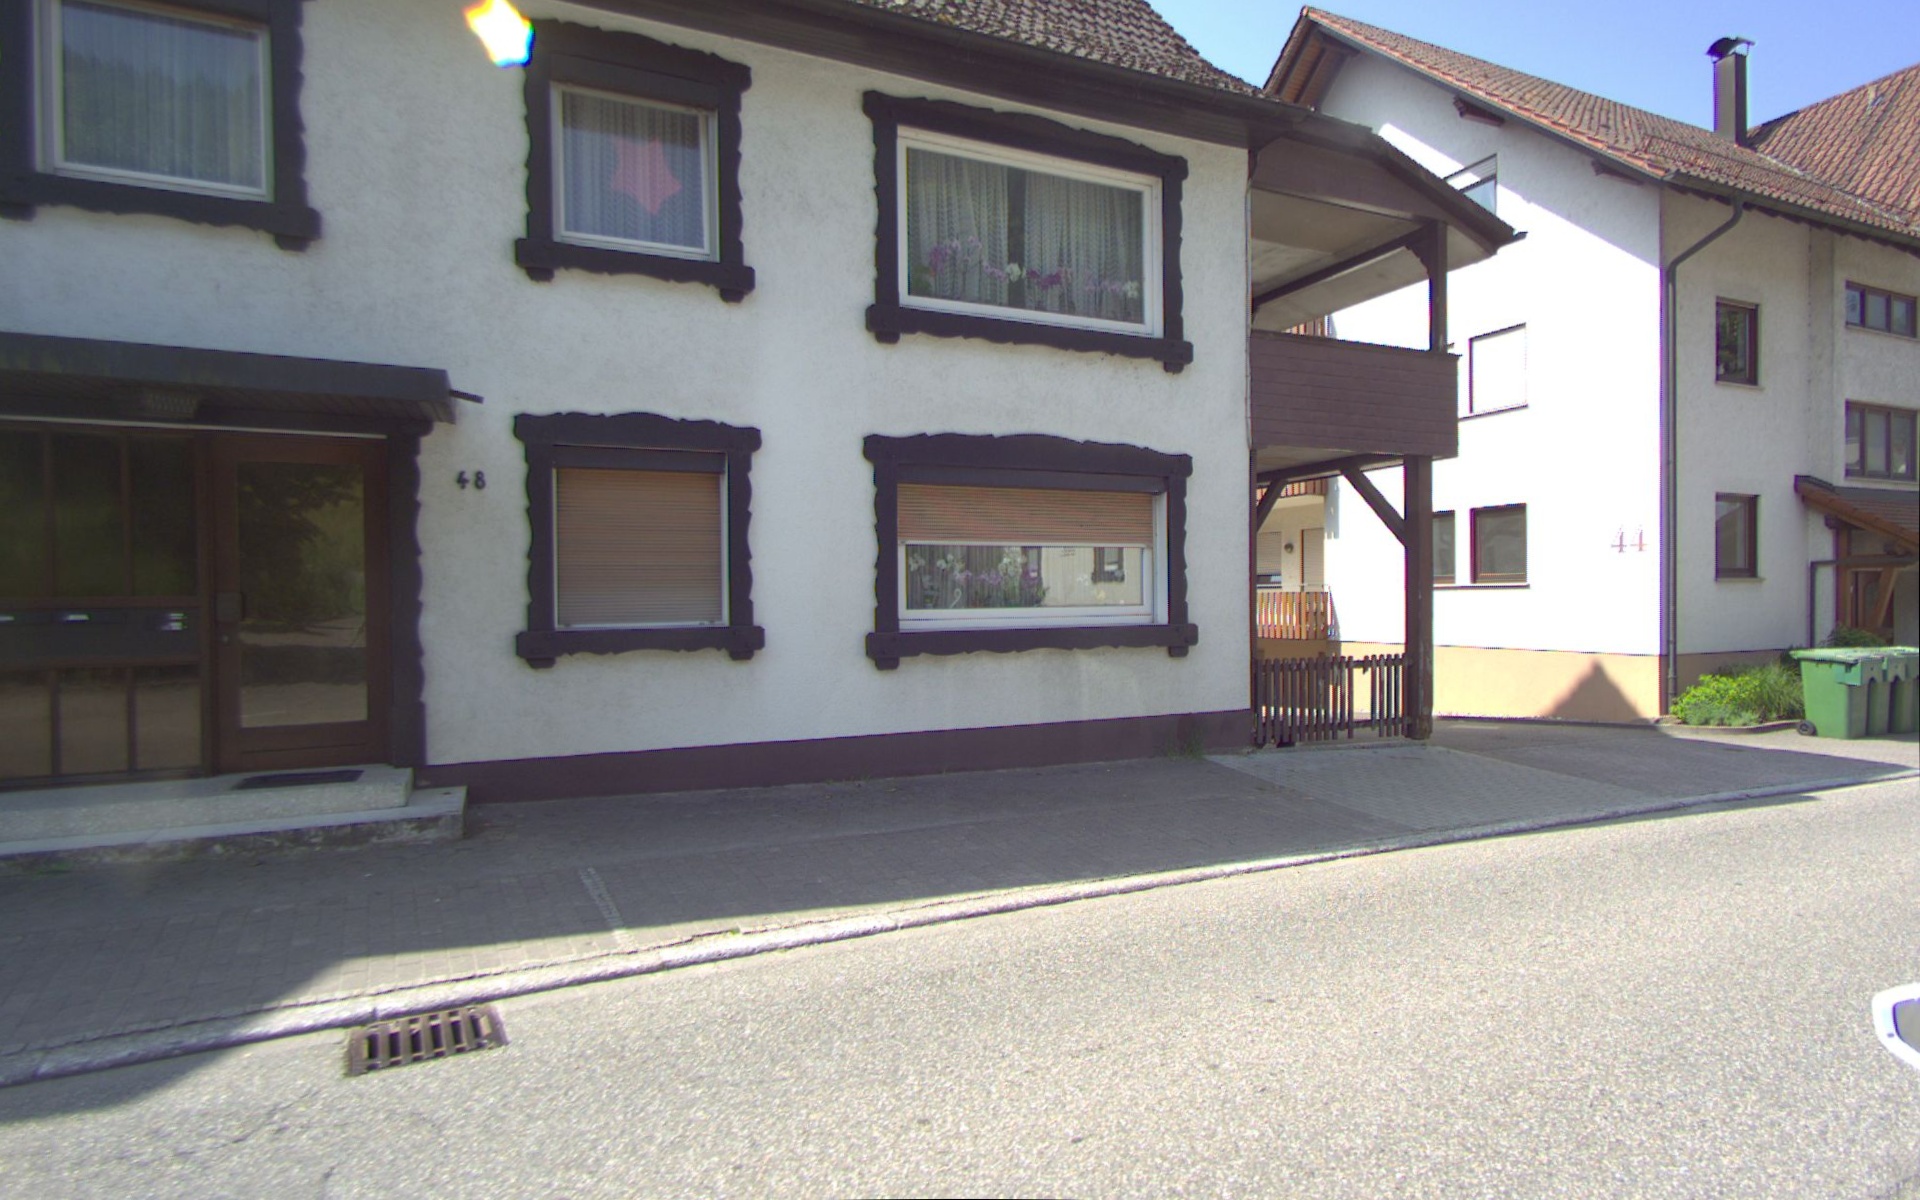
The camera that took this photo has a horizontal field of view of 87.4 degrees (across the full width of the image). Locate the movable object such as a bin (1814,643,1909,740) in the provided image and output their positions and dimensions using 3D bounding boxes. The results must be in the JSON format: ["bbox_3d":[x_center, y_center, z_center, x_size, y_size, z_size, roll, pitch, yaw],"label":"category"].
[{"bbox_3d":[11.576,1.154,12.911,0.590,1.197,0.716,1,-2,-25],"label":"movable object such as a bin"}]

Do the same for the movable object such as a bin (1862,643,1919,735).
[{"bbox_3d":[12.730,1.184,13.492,0.590,1.197,0.716,1,-2,-25],"label":"movable object such as a bin"}]

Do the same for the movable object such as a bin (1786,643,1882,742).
[{"bbox_3d":[10.985,1.138,12.637,0.590,1.197,0.716,1,-2,-25],"label":"movable object such as a bin"}]

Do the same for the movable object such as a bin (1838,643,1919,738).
[{"bbox_3d":[12.147,1.169,13.207,0.590,1.197,0.716,1,-2,-25],"label":"movable object such as a bin"}]

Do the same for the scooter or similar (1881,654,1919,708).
[{"bbox_3d":[15.438,1.305,16.348,0.530,0.837,0.504,1,-1,-26],"label":"scooter or similar"}]
